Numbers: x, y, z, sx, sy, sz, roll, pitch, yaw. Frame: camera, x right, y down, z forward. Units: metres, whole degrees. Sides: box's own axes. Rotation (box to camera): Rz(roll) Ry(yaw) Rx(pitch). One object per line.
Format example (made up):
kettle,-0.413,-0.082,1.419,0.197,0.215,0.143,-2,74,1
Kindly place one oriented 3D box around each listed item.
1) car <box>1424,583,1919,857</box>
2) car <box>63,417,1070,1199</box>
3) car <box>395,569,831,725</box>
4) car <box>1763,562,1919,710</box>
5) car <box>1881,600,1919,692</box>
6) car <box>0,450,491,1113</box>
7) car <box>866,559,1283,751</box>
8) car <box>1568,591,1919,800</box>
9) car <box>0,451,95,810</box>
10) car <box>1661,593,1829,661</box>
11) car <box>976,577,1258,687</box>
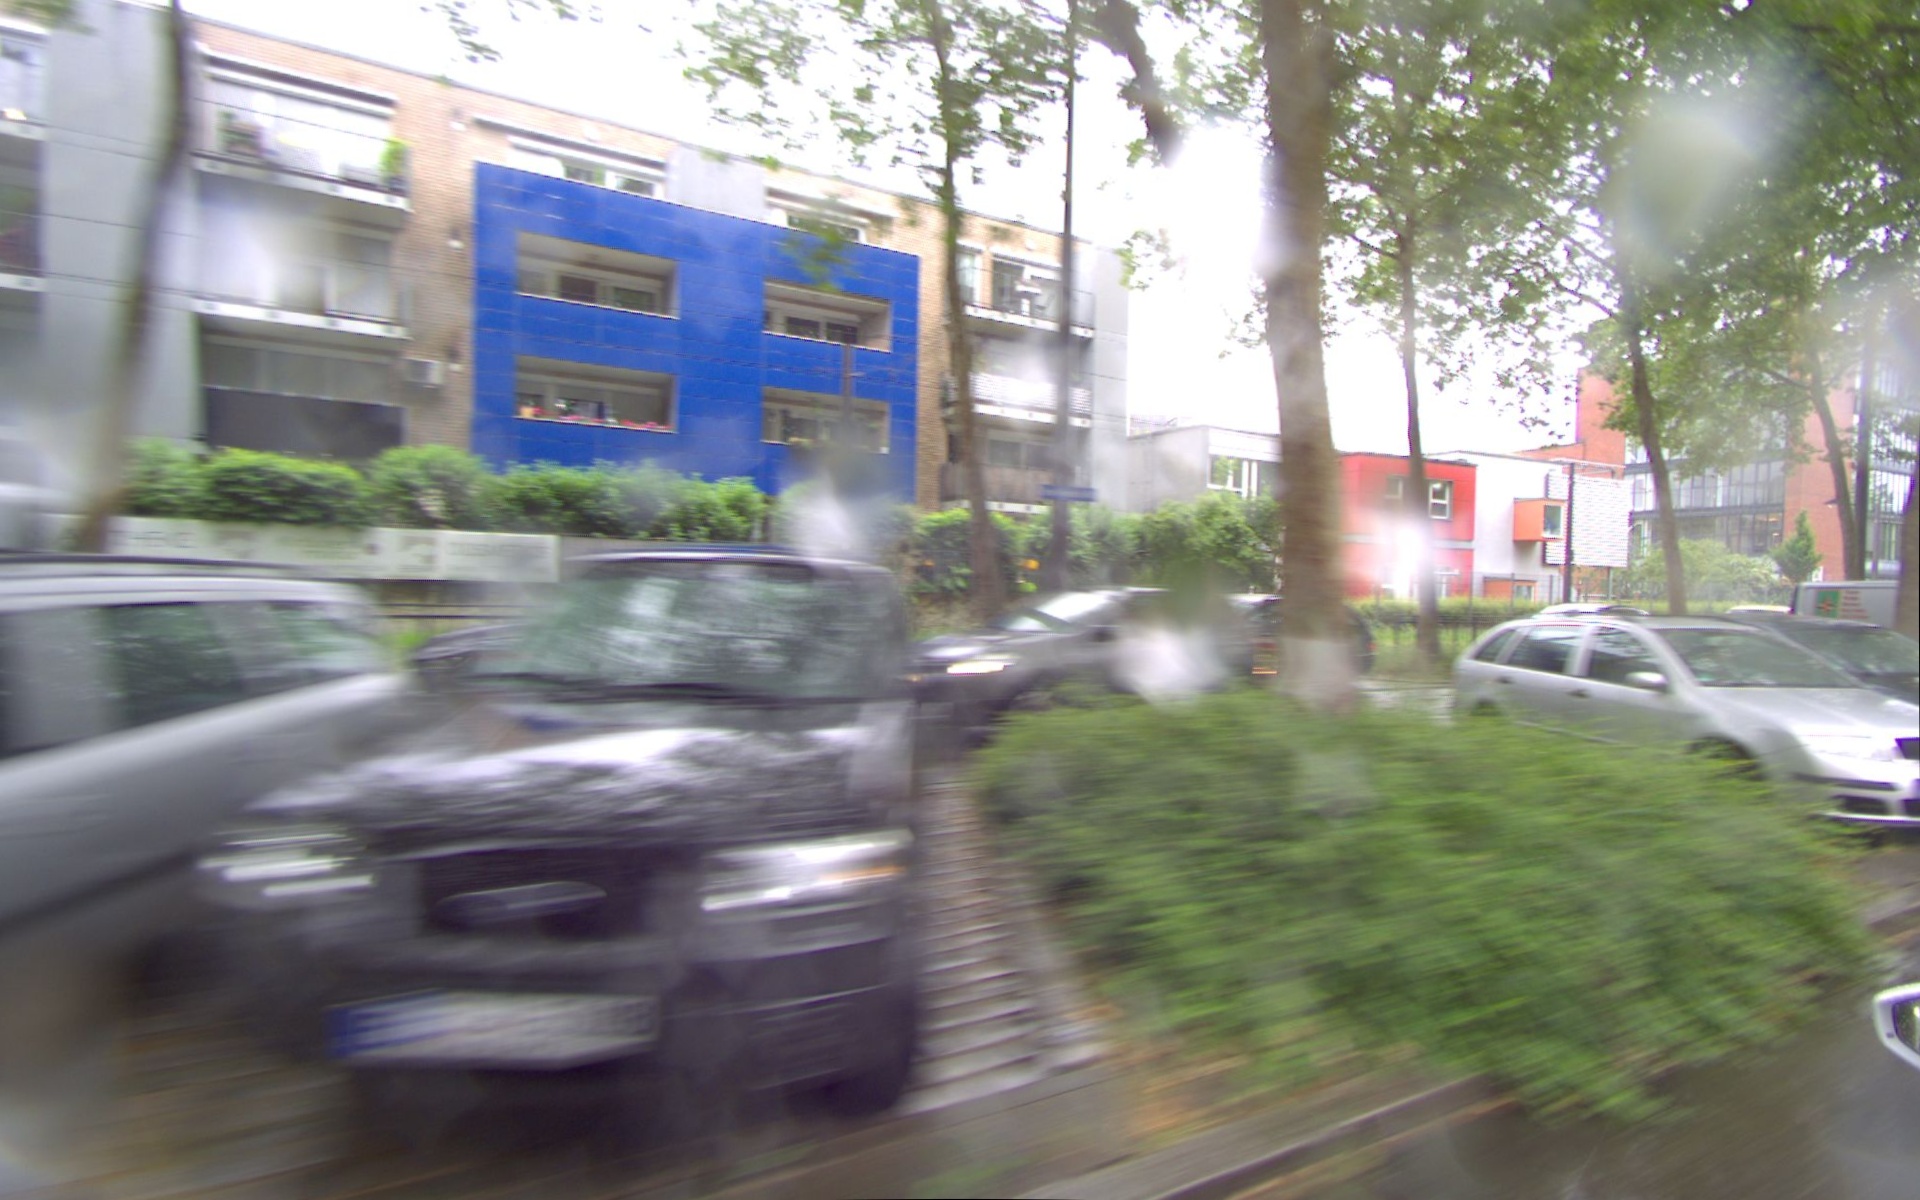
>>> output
car,5.684,0.696,7.985,1.715,1.519,4.064,2,2,-6
car,-0.835,0.490,4.161,1.892,1.682,4.416,2,1,-2
car,-3.776,0.425,11.136,4.214,1.408,1.981,1,1,-34
car,14.099,0.524,13.771,2.061,2.004,5.132,2,0,1
car,16.451,0.777,15.122,1.688,1.502,3.786,2,0,1
car,-3.310,0.434,2.774,1.835,1.667,4.419,2,-1,1
car,1.286,0.519,10.877,4.094,1.662,1.982,2,2,-32
car,8.004,0.736,9.457,1.714,1.456,4.313,2,2,-3
car,-7.984,0.082,5.158,5.104,2.027,2.025,1,2,-34
car,19.850,0.692,25.382,3.953,1.528,1.984,2,1,-30
car,2.561,0.459,16.192,4.190,1.540,1.983,1,1,-32
